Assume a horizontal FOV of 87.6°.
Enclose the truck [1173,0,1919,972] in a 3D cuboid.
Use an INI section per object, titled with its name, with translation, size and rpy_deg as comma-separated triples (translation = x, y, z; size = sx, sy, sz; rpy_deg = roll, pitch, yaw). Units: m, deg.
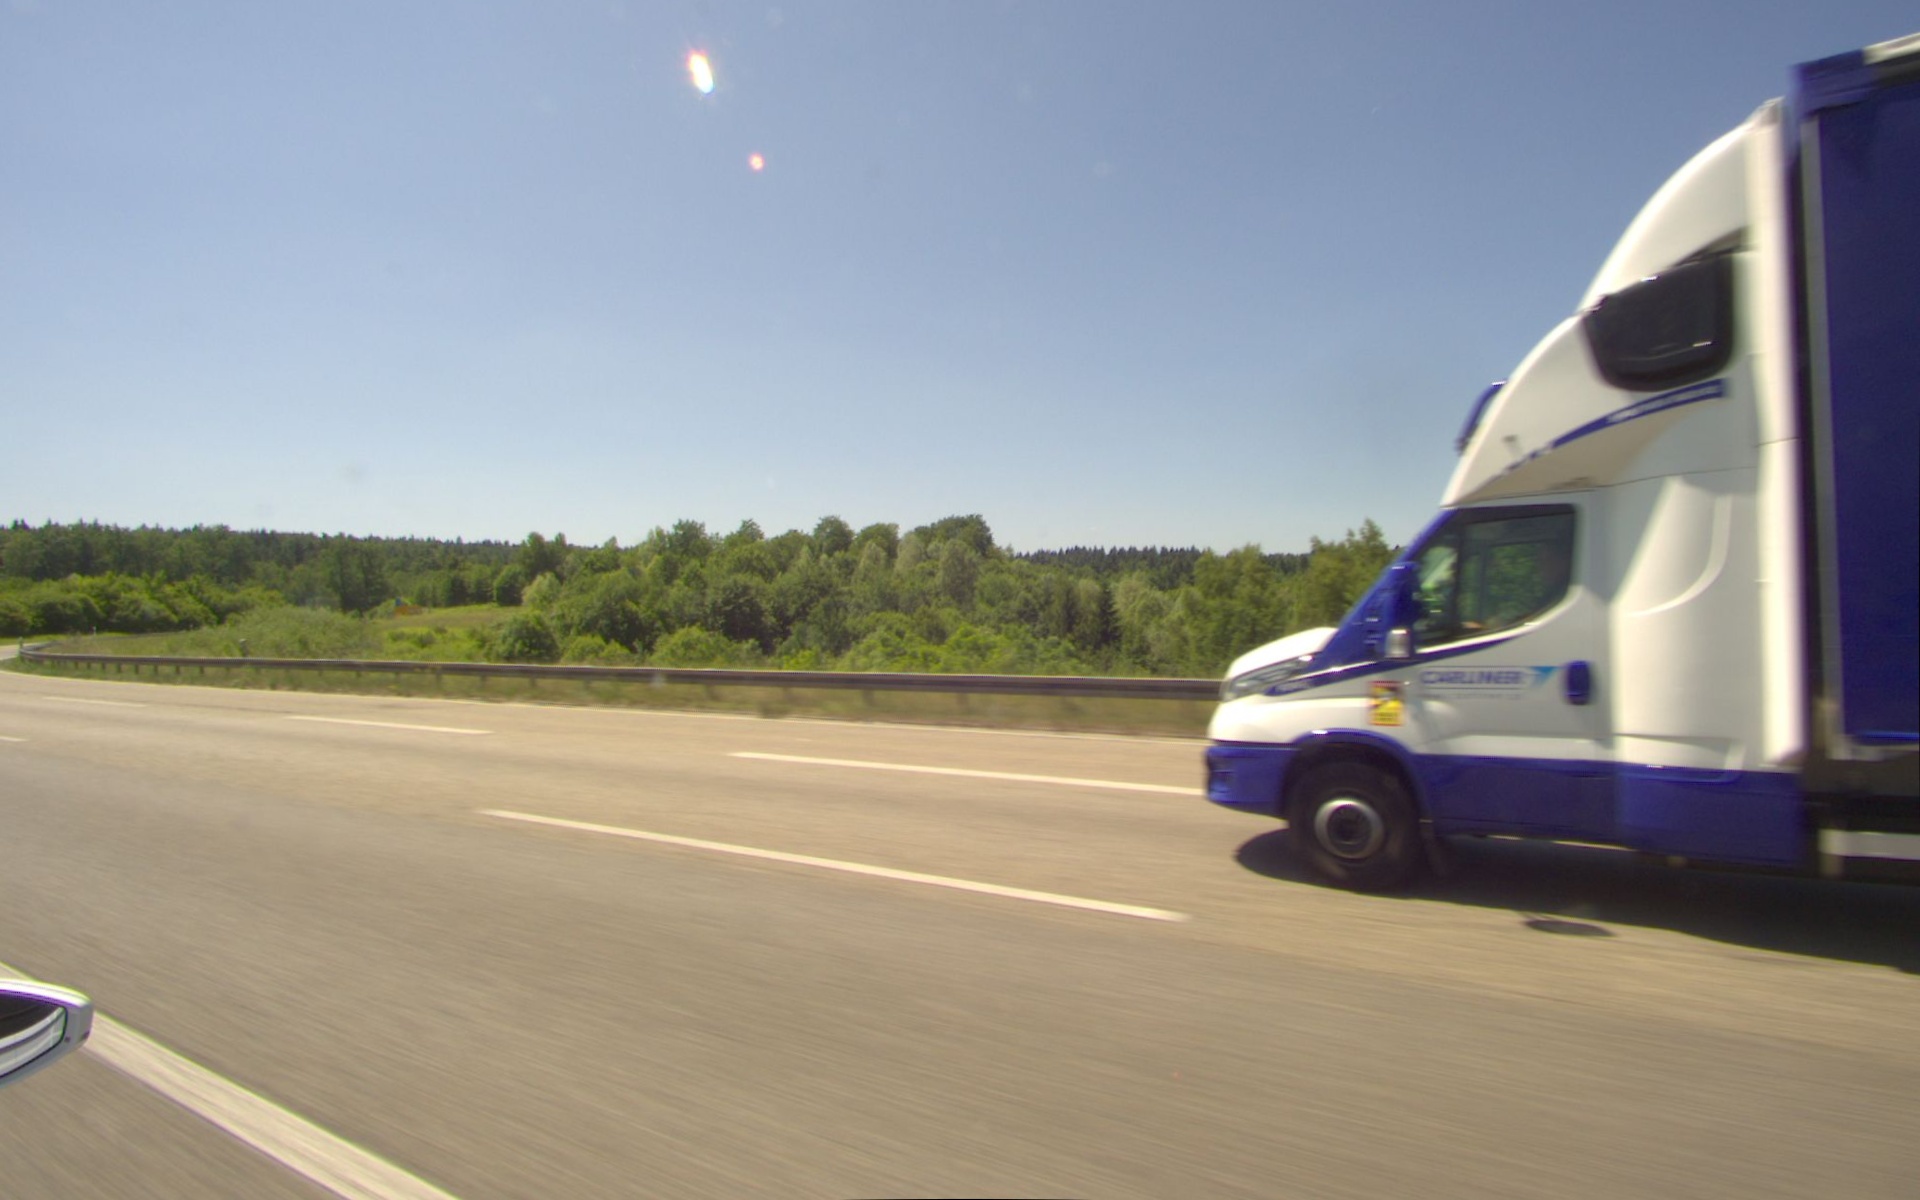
[truck]
translation = 6.010, -0.625, 4.272
size = 9.597, 4.180, 2.780
rpy_deg = -2, -2, 31
